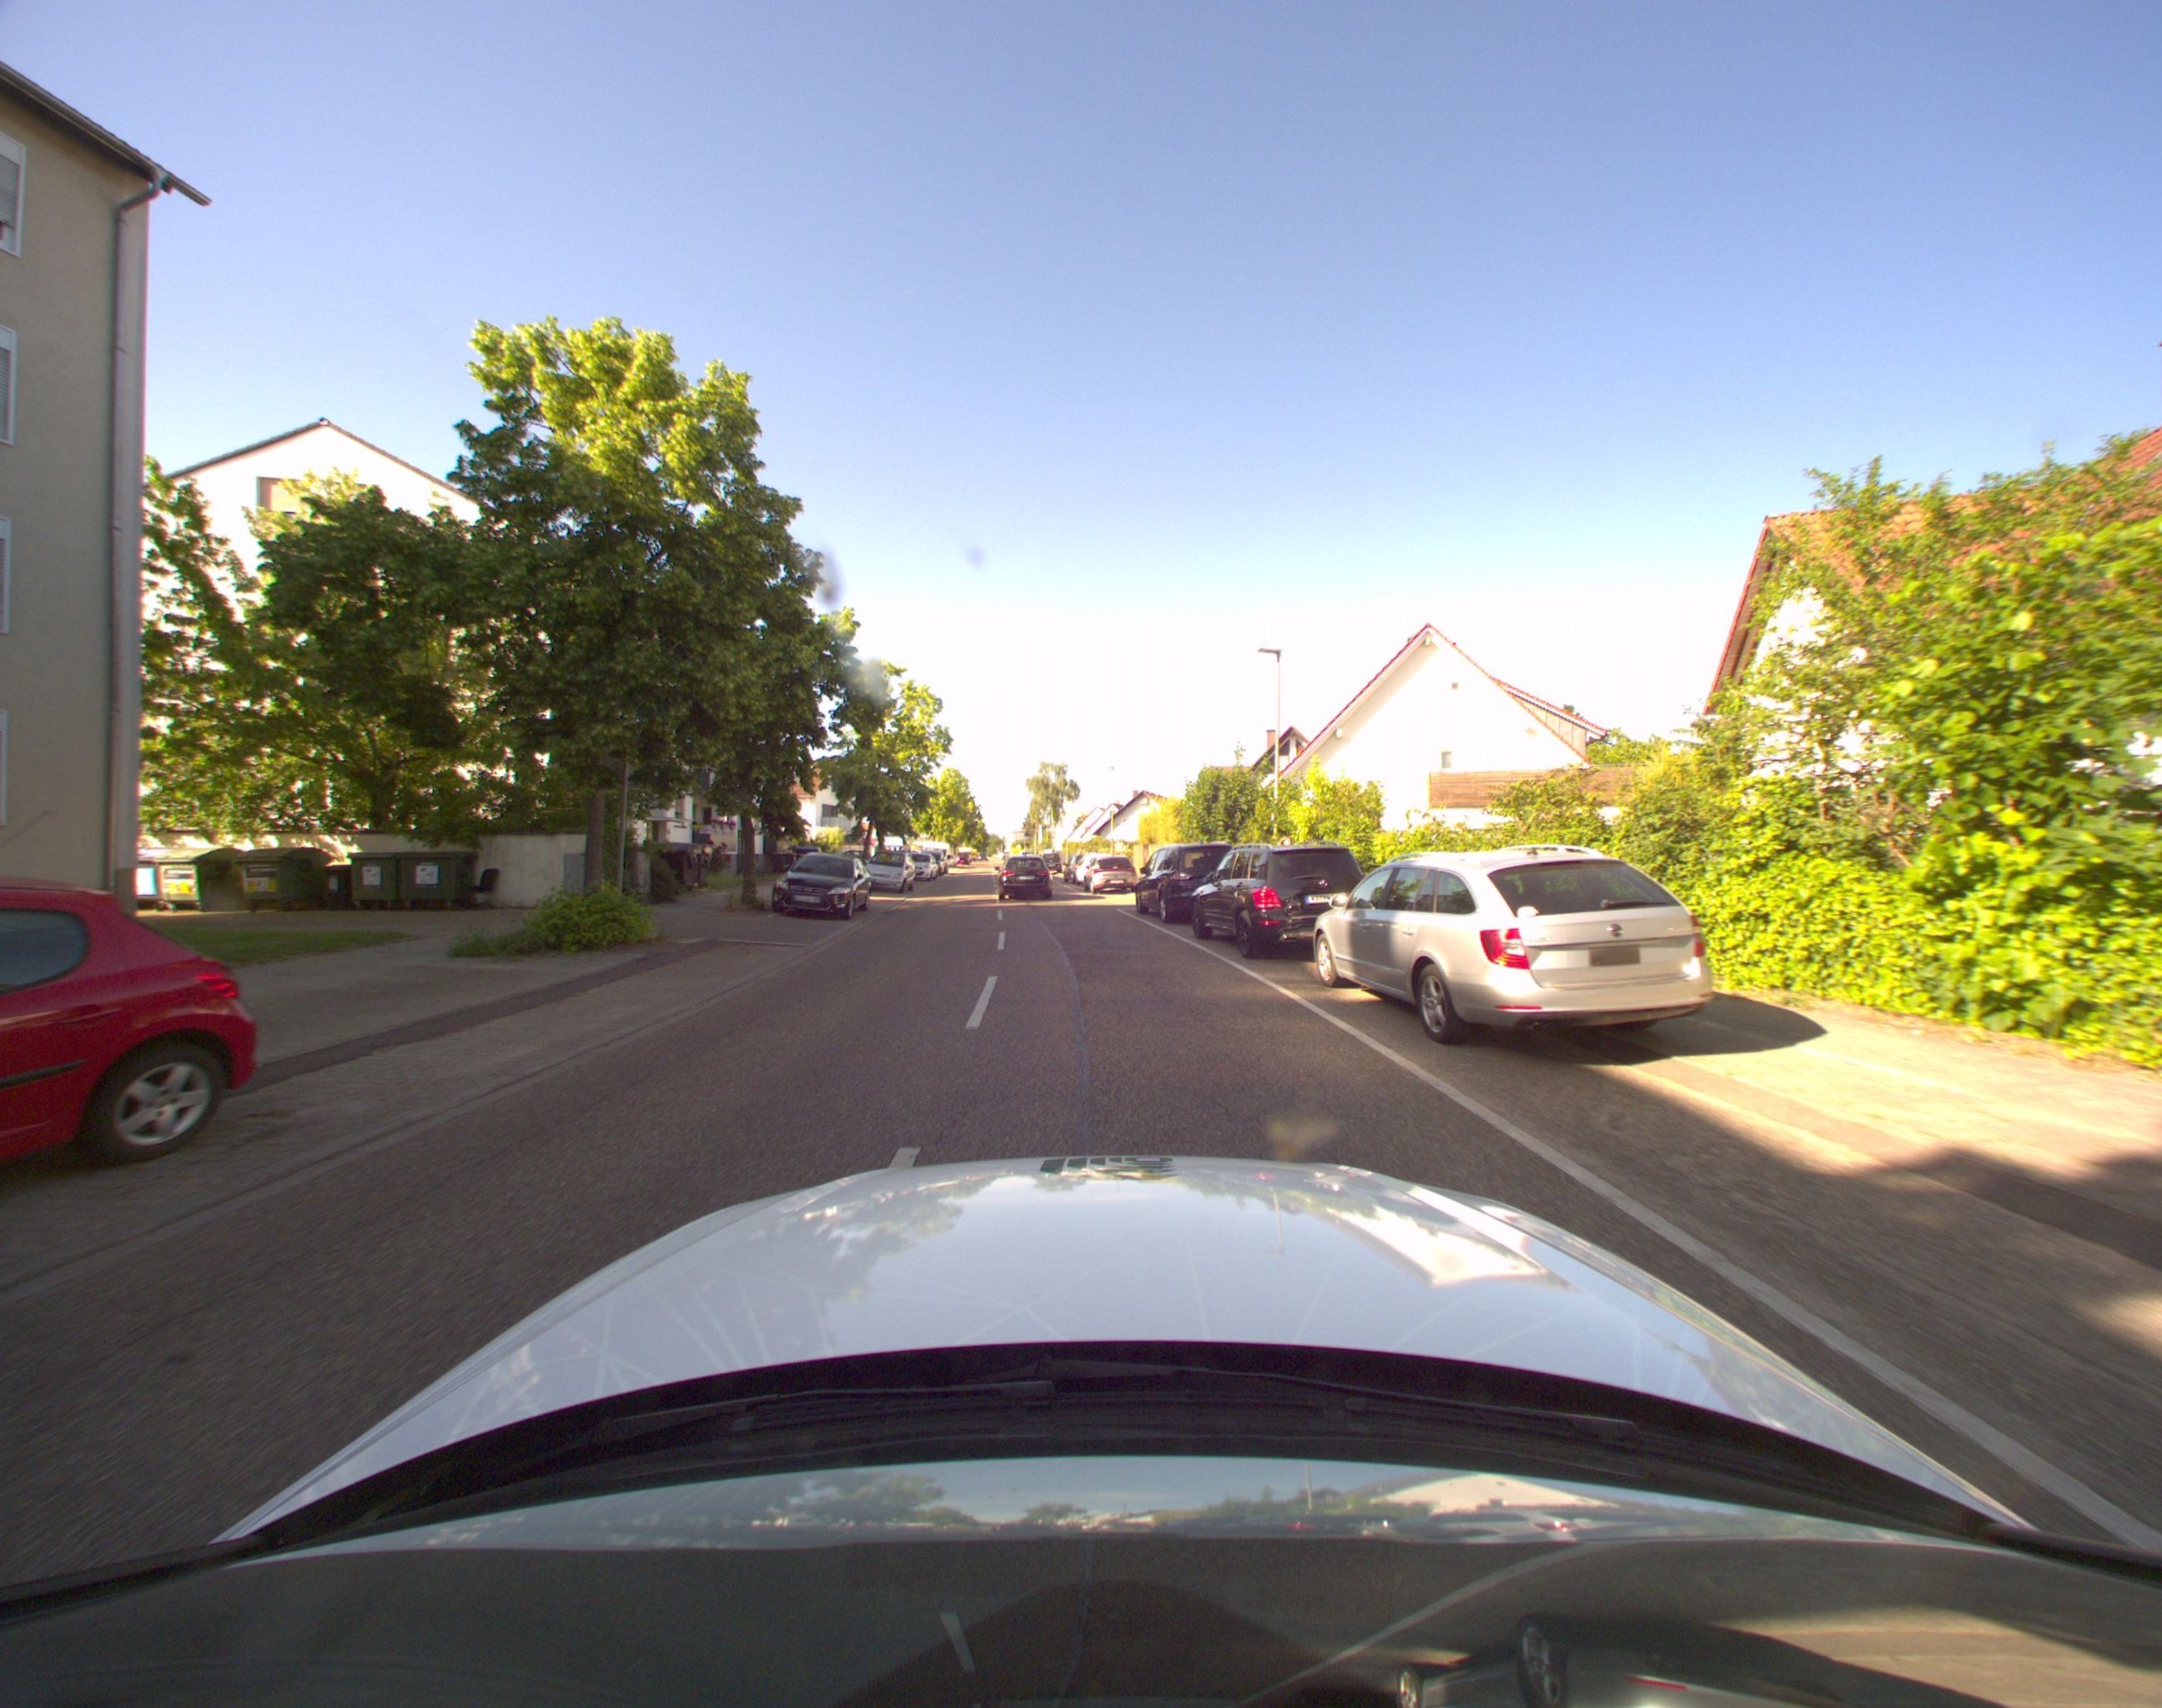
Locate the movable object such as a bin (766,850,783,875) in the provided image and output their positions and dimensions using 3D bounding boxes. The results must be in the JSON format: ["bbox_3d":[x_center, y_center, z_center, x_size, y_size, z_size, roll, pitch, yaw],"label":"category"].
[{"bbox_3d":[-16.360,0.457,43.502,0.637,1.279,0.670,1,0,-4],"label":"movable object such as a bin"}]

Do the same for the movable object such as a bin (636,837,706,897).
[{"bbox_3d":[-11.818,0.376,23.540,1.410,1.662,1.265,1,0,-5],"label":"movable object such as a bin"}]

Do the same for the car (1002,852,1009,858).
[{"bbox_3d":[-21.309,0.328,229.295,1.916,1.825,4.070,1,0,-6],"label":"car"}]

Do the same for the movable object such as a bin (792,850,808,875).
[{"bbox_3d":[-15.049,0.450,43.573,0.637,1.279,0.670,1,0,-4],"label":"movable object such as a bin"}]

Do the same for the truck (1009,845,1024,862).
[{"bbox_3d":[-11.940,-0.045,149.671,2.400,2.937,7.000,-2,0,-6],"label":"truck"}]

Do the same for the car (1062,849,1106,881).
[{"bbox_3d":[0.110,0.548,43.047,1.657,1.601,3.803,1,0,-10],"label":"car"}]

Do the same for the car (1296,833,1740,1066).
[{"bbox_3d":[3.556,0.644,7.804,1.757,1.563,4.661,0,0,0],"label":"car"}]

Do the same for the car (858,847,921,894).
[{"bbox_3d":[-7.685,0.643,33.069,1.719,1.593,3.902,6,-1,-4],"label":"car"}]

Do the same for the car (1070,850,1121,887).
[{"bbox_3d":[0.619,0.654,38.588,1.724,1.601,3.803,1,0,-10],"label":"car"}]

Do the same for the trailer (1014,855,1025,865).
[{"bbox_3d":[-9.446,0.926,125.866,1.625,1.538,3.192,1,0,-5],"label":"trailer"}]

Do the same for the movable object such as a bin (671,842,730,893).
[{"bbox_3d":[-12.108,0.421,25.944,1.288,1.543,1.325,1,0,-5],"label":"movable object such as a bin"}]

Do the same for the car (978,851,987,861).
[{"bbox_3d":[-21.506,0.474,178.128,1.892,2.031,4.807,-1,0,-6],"label":"car"}]

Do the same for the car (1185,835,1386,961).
[{"bbox_3d":[3.055,0.592,13.165,1.761,1.676,4.385,0,0,-6],"label":"car"}]

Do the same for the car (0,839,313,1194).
[{"bbox_3d":[-5.616,0.714,3.002,1.650,1.494,3.911,4,0,2],"label":"car"}]

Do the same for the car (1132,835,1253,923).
[{"bbox_3d":[2.473,0.518,19.188,1.741,1.813,4.418,0,0,-7],"label":"car"}]

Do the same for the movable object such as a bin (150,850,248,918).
[{"bbox_3d":[-19.953,0.659,18.450,1.116,1.432,0.939,1,3,1],"label":"movable object such as a bin"}]

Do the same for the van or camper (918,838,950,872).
[{"bbox_3d":[-11.651,0.057,64.923,2.121,2.490,5.541,2,0,-7],"label":"van or camper"}]

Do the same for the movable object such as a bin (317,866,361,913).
[{"bbox_3d":[-16.868,0.805,18.515,0.505,1.014,0.485,1,3,1],"label":"movable object such as a bin"}]

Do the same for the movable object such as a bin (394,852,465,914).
[{"bbox_3d":[-14.526,0.644,18.171,1.085,1.316,0.568,1,3,1],"label":"movable object such as a bin"}]

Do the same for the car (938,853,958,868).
[{"bbox_3d":[-14.030,0.687,85.973,1.684,1.435,4.202,3,0,-4],"label":"car"}]

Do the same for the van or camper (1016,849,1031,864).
[{"bbox_3d":[-7.313,0.320,103.804,1.716,1.891,4.170,1,0,-6],"label":"van or camper"}]

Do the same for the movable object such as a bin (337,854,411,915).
[{"bbox_3d":[-15.841,0.672,18.262,1.116,1.316,0.568,1,3,1],"label":"movable object such as a bin"}]

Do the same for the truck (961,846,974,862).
[{"bbox_3d":[-22.299,0.007,159.817,2.401,2.983,7.226,2,-1,-7],"label":"truck"}]

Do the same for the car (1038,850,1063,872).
[{"bbox_3d":[-2.444,0.524,64.839,1.773,1.659,4.295,1,0,-5],"label":"car"}]

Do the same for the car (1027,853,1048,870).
[{"bbox_3d":[-4.544,0.740,84.226,1.775,1.659,3.805,1,0,-8],"label":"car"}]

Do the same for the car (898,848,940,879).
[{"bbox_3d":[-8.970,0.522,45.239,1.689,1.566,3.901,4,0,-4],"label":"car"}]

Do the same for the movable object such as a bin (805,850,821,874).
[{"bbox_3d":[-14.360,0.445,43.631,0.685,1.279,0.670,1,0,-4],"label":"movable object such as a bin"}]

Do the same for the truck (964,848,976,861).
[{"bbox_3d":[-25.723,0.192,189.478,2.400,2.983,6.360,2,-1,-6],"label":"truck"}]

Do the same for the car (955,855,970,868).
[{"bbox_3d":[-16.410,1.004,113.174,1.801,1.752,4.332,3,-1,-6],"label":"car"}]

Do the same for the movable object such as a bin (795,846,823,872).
[{"bbox_3d":[-15.596,0.277,46.722,1.229,1.482,1.114,1,0,-4],"label":"movable object such as a bin"}]

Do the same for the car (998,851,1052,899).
[{"bbox_3d":[-1.961,0.660,27.932,1.709,1.532,3.680,0,0,-5],"label":"car"}]

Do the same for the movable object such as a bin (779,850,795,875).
[{"bbox_3d":[-15.702,0.453,43.527,0.637,1.279,0.670,1,0,-4],"label":"movable object such as a bin"}]

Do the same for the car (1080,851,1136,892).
[{"bbox_3d":[1.014,0.649,32.213,1.641,1.494,3.879,0,0,-7],"label":"car"}]

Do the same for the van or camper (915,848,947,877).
[{"bbox_3d":[-10.806,0.586,58.819,1.875,2.013,4.270,1,0,-6],"label":"van or camper"}]

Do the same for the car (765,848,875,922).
[{"bbox_3d":[-6.389,0.700,20.454,1.721,1.494,4.531,6,-1,-8],"label":"car"}]

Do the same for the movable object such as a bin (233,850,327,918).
[{"bbox_3d":[-18.152,0.660,18.487,1.116,1.432,0.956,1,3,1],"label":"movable object such as a bin"}]

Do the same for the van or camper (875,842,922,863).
[{"bbox_3d":[-21.373,-0.137,95.596,4.868,2.320,2.247,1,-1,6],"label":"van or camper"}]
